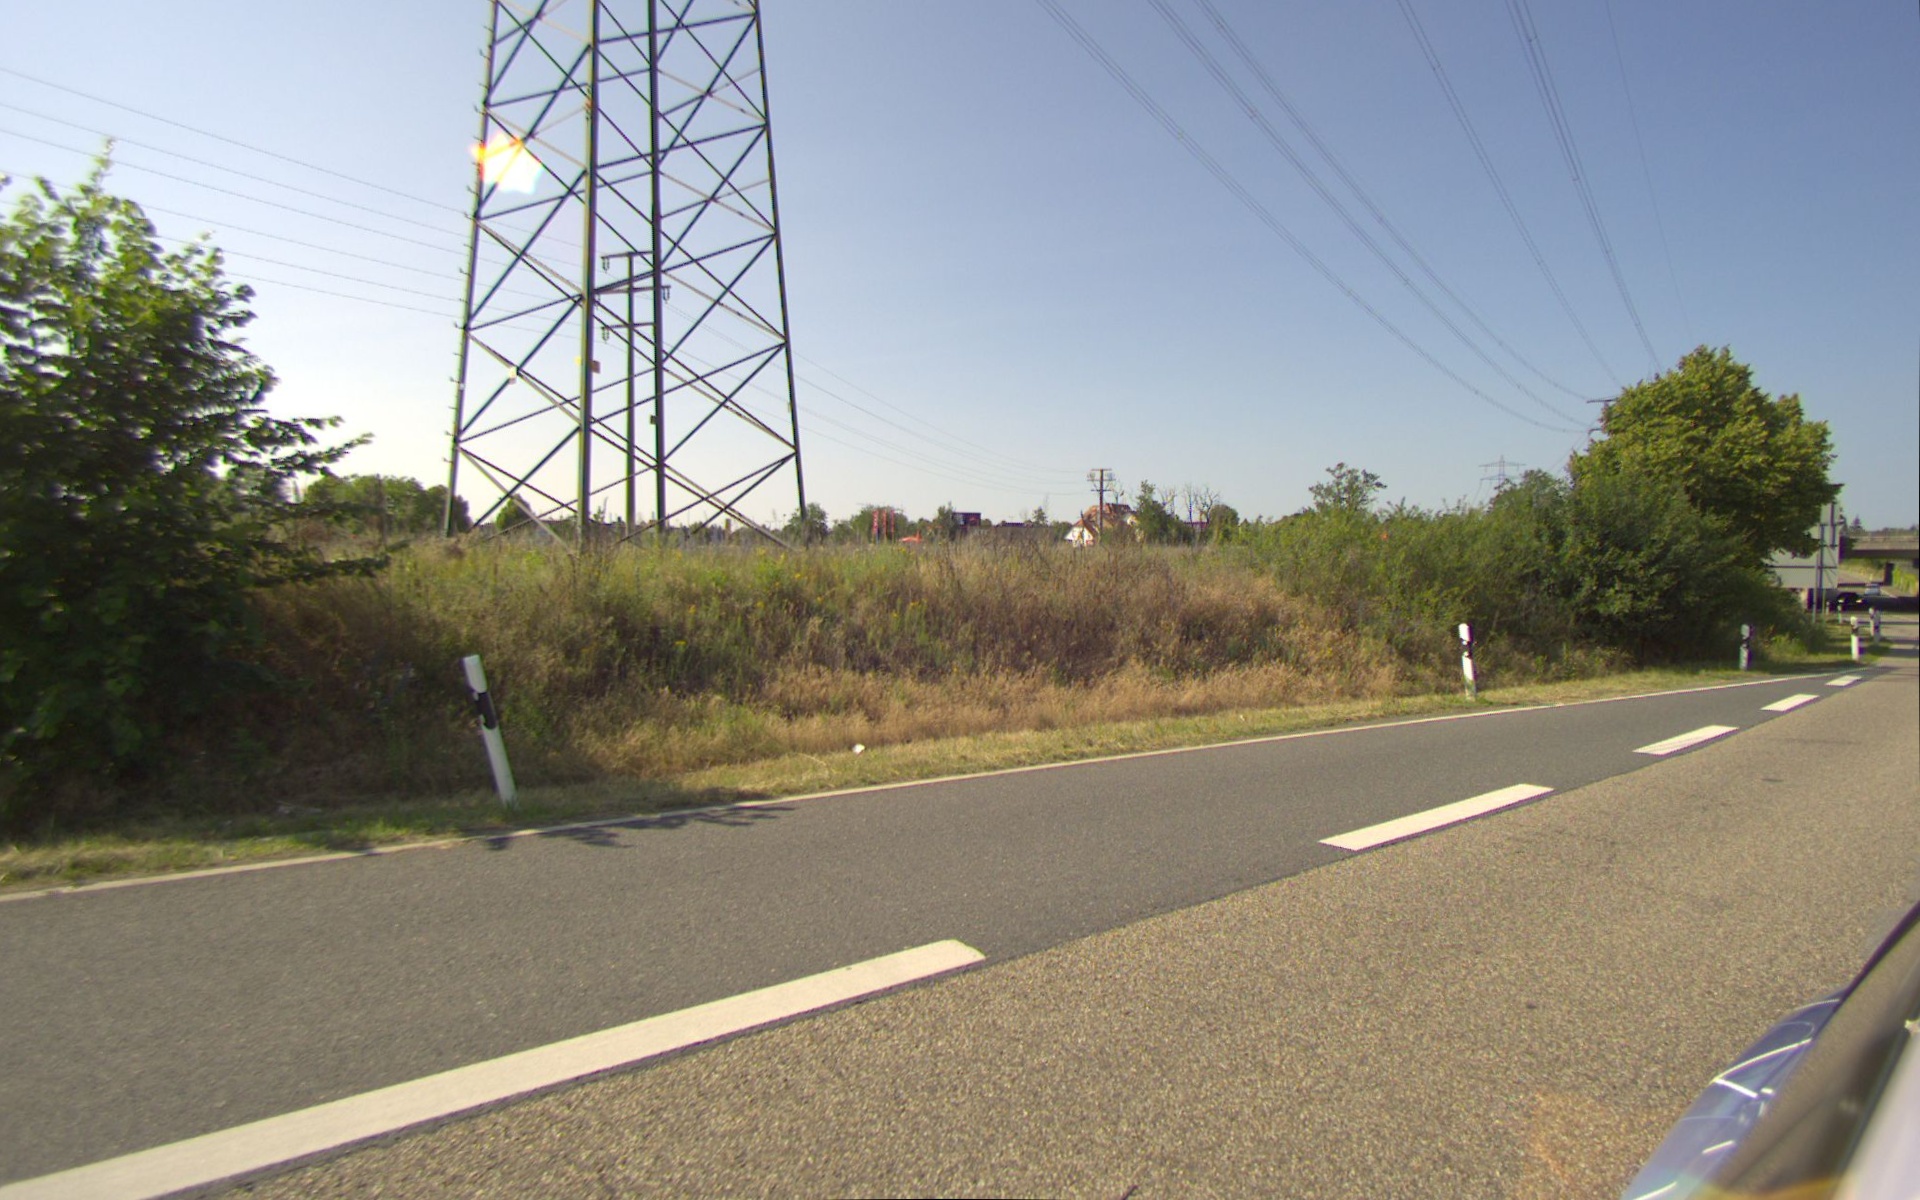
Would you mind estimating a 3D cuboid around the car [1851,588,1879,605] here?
[{"bbox_3d":[90.723,-0.360,101.503,1.852,1.639,3.596,1,1,39],"label":"car"}]
